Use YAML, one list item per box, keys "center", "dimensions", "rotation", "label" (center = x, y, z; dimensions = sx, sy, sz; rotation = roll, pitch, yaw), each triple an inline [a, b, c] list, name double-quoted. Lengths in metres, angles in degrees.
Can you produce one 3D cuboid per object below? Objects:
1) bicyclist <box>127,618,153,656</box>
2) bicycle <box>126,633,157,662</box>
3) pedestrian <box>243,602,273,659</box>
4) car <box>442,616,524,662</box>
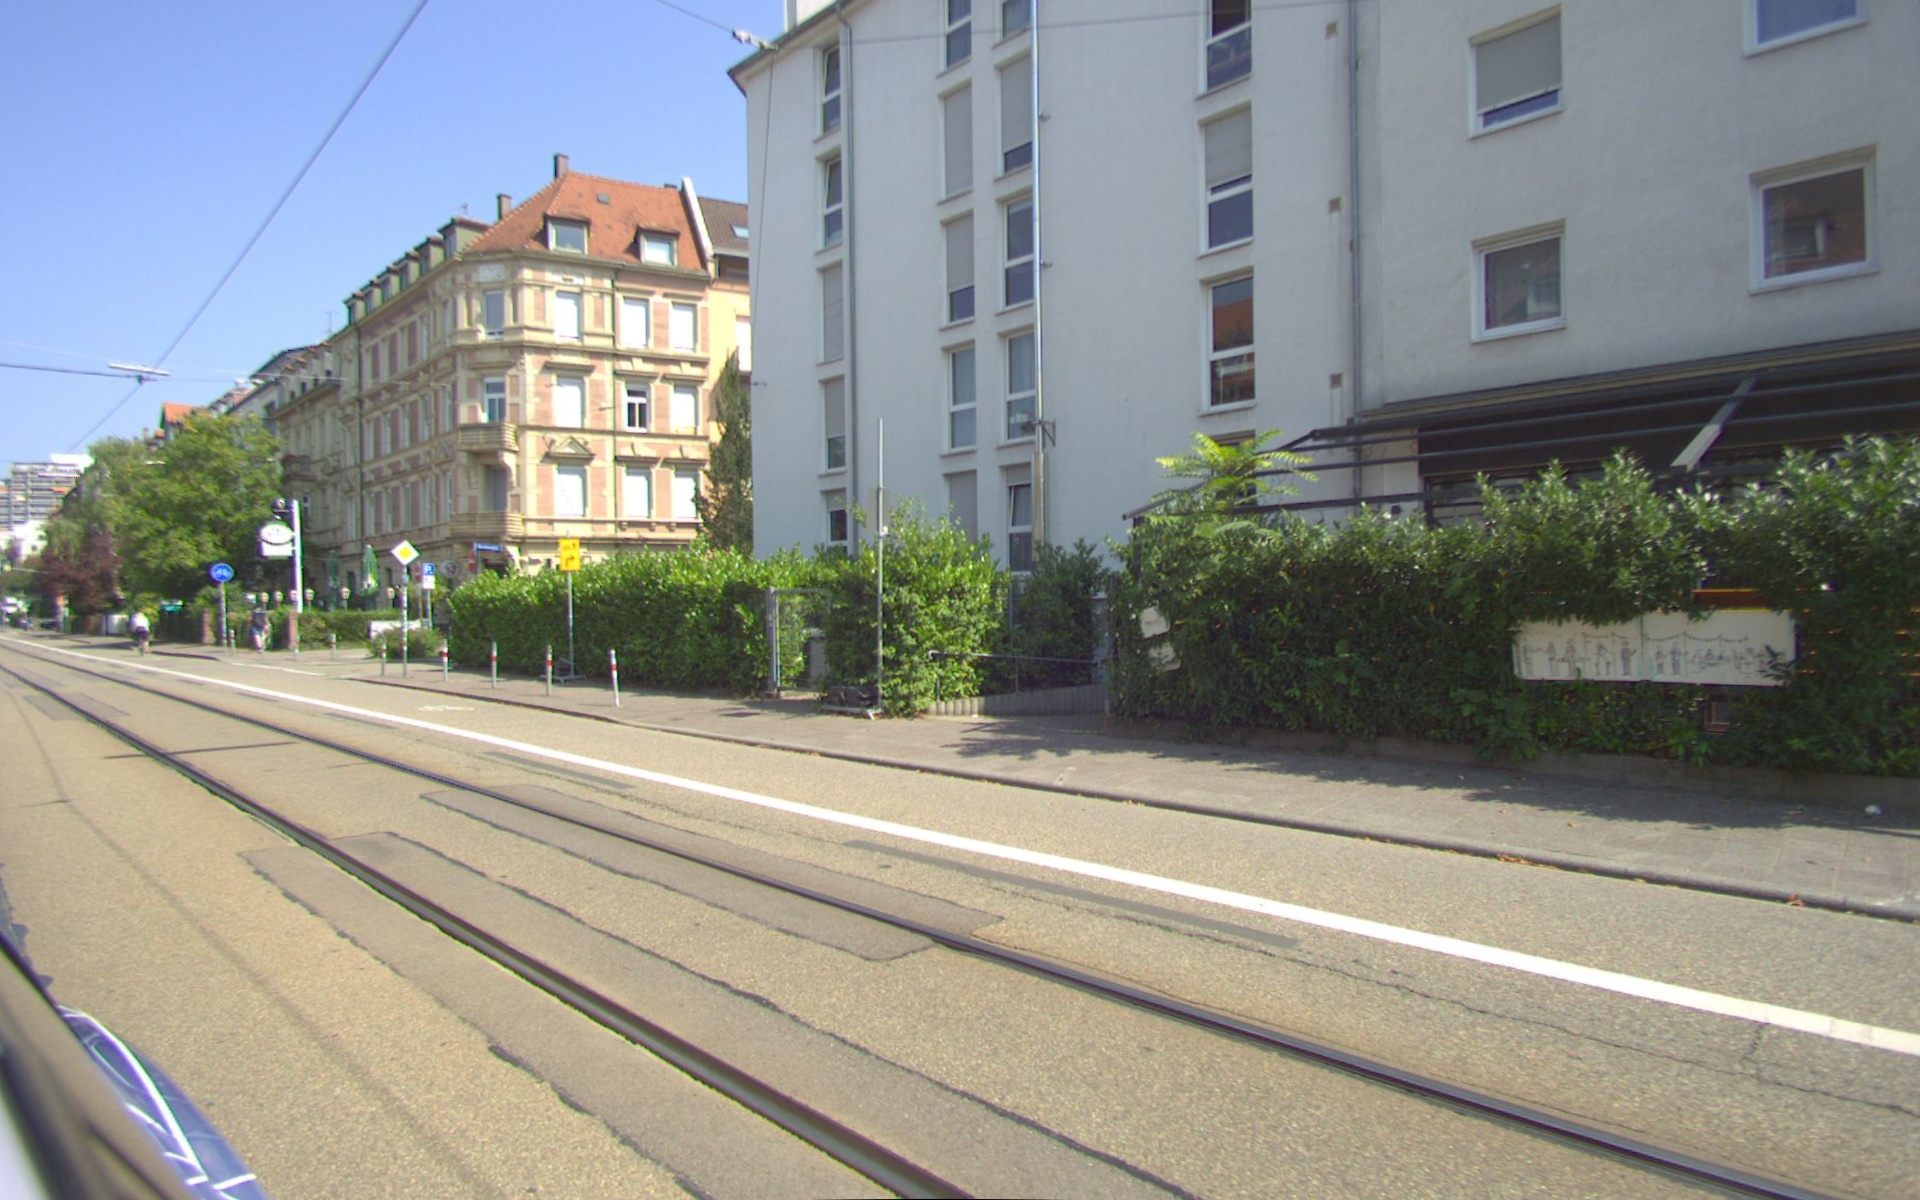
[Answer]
- center: [-31.831, 1.445, 39.297]
  dimensions: [0.974, 1.439, 0.648]
  rotation: [-2, -1, 42]
  label: "bicyclist"
- center: [-31.765, 1.846, 39.259]
  dimensions: [1.915, 1.085, 0.633]
  rotation: [-2, -1, 42]
  label: "bicycle"
- center: [-25.500, 1.109, 36.759]
  dimensions: [0.973, 2.029, 0.649]
  rotation: [-2, -1, 40]
  label: "pedestrian"
- center: [-16.881, 1.343, 36.039]
  dimensions: [1.966, 1.500, 4.156]
  rotation: [-1, -1, -16]
  label: "car"
